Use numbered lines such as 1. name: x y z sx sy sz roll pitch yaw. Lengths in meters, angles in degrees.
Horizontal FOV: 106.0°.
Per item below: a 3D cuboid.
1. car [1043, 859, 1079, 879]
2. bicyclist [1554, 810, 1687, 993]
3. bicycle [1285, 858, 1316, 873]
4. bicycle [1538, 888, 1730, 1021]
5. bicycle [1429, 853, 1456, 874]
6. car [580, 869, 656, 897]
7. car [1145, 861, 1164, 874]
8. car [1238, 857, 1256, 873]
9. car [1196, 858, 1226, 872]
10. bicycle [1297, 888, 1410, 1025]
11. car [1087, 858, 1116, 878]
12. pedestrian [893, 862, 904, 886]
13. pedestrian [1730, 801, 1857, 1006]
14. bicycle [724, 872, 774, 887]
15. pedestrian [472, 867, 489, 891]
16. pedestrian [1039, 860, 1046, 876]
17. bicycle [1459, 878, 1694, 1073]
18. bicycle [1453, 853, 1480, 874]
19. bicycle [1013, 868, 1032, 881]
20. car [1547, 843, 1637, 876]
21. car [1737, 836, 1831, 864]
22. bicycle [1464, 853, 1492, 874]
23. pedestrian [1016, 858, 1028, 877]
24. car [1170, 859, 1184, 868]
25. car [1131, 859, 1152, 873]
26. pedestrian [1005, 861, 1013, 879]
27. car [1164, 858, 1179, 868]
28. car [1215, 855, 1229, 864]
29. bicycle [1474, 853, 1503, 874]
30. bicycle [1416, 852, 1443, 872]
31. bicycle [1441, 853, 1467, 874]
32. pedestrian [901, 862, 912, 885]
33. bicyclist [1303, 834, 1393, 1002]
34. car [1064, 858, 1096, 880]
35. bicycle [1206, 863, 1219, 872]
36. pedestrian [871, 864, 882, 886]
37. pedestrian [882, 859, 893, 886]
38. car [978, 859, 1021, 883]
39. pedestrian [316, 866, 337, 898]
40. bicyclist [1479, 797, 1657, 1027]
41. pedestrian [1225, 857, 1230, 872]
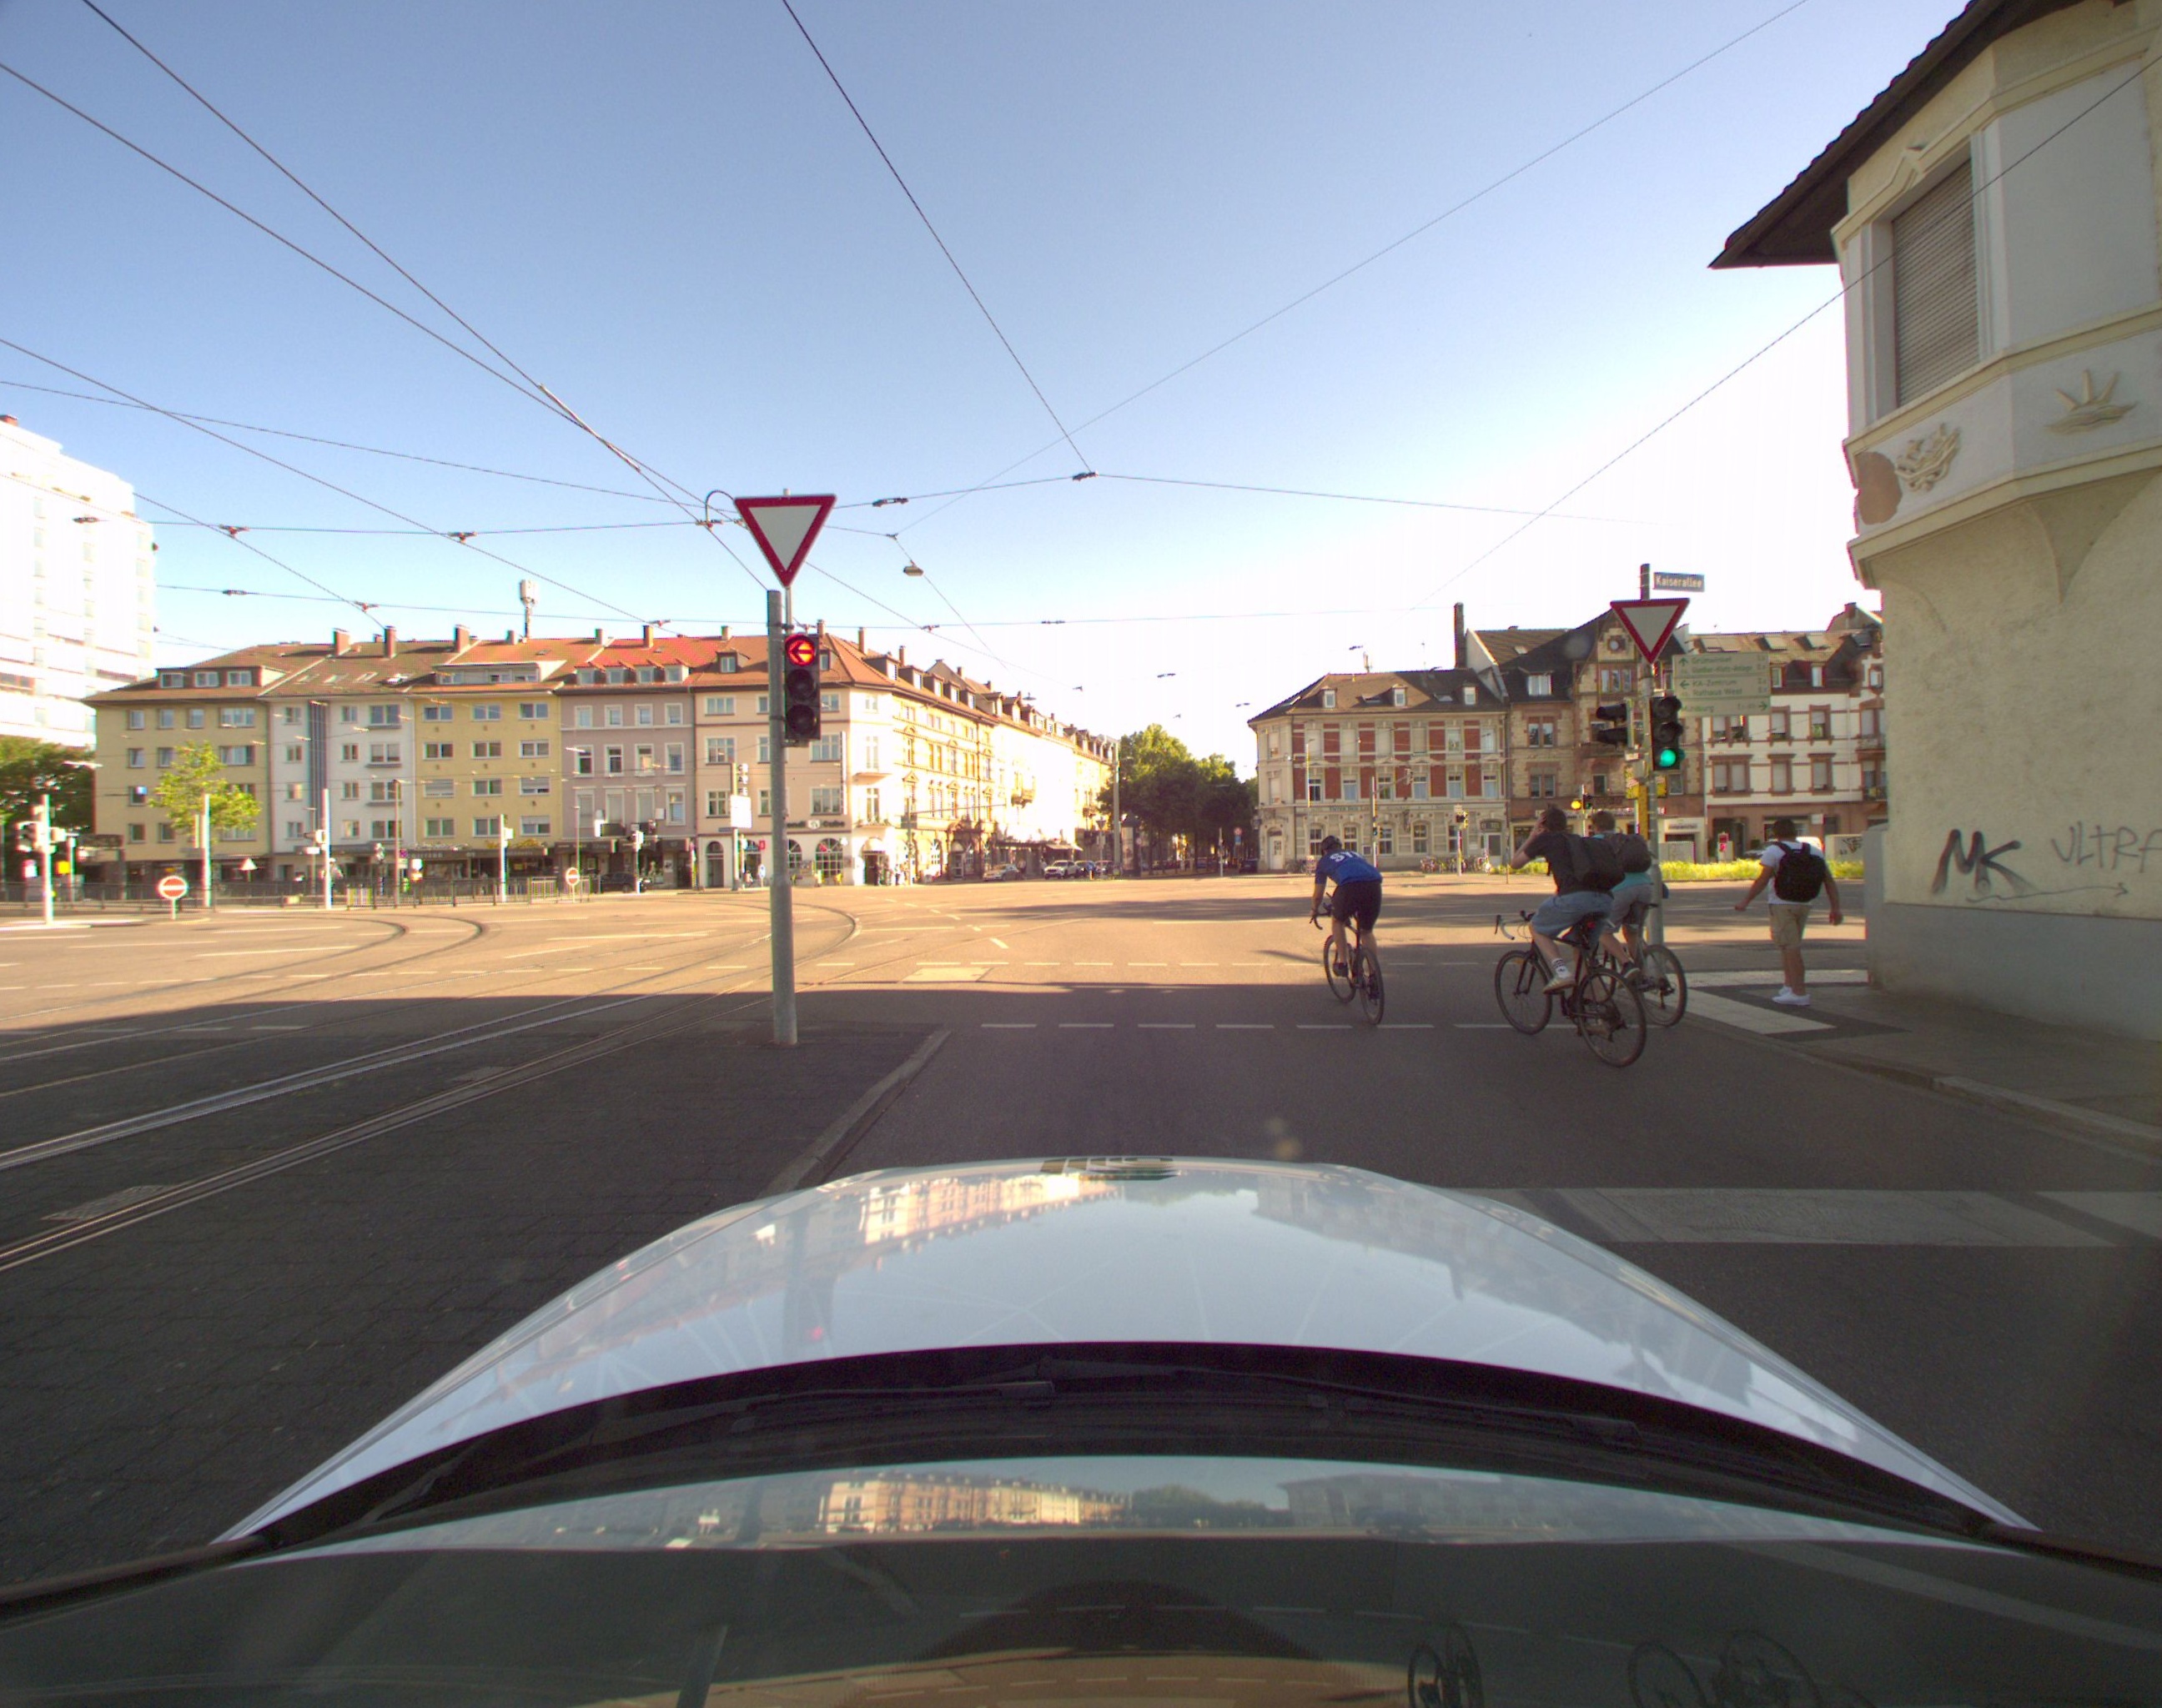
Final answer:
1. car: -1.620 1.195 67.548 1.979 1.618 4.015 -1 -1 14
2. bicyclist: 5.083 0.430 7.728 0.686 1.633 0.884 0 -1 4
3. bicycle: 15.324 0.812 56.880 2.040 0.998 0.631 -1 -1 4
4. bicycle: 5.055 0.865 7.597 0.647 1.031 1.772 0 -1 3
5. bicycle: 23.262 0.621 52.430 0.689 1.287 2.663 0 -1 3
6. car: -30.588 1.915 53.821 3.962 1.670 2.006 -2 0 10
7. car: 11.110 1.973 122.544 1.977 1.904 4.019 -1 -1 19
8. car: 16.817 1.115 82.370 1.680 1.565 3.855 -1 -1 14
9. car: 18.336 1.559 114.732 3.955 1.904 2.009 -1 -1 17
10. bicycle: 2.525 0.901 7.722 0.623 1.085 1.705 0 -1 5
11. car: 2.065 1.399 79.926 1.979 1.904 4.015 -1 -1 14
12. pedestrian: -12.636 1.352 56.371 0.631 1.634 0.700 0 -1 -2
13. pedestrian: 6.481 0.432 7.416 0.589 1.756 0.635 -5 -1 -37
14. bicycle: -23.424 1.786 57.470 3.118 0.980 1.002 0 -1 1
15. pedestrian: -42.274 1.762 57.332 0.631 1.634 0.700 0 -1 -2
16. pedestrian: -3.977 1.475 84.004 0.539 1.631 0.709 -1 -1 15
17. bicycle: 3.656 0.822 6.208 0.752 1.236 1.702 0 -1 0
18. bicycle: 24.775 0.601 52.395 0.626 1.287 2.663 0 -1 3
19. bicycle: -4.732 1.631 65.564 0.756 1.008 2.406 -1 -1 16
20. car: 28.279 0.323 45.146 3.769 1.778 2.000 0 -1 1
21. car: 45.312 -0.236 52.578 4.349 1.778 2.000 0 -1 1
22. bicycle: 25.503 0.609 52.391 0.626 1.287 2.663 0 -1 3
23. pedestrian: -4.760 1.101 65.495 0.814 1.512 0.601 -1 -1 16
24. car: 16.097 1.529 136.041 1.546 1.513 3.673 -1 -1 19
25. car: 8.395 1.617 112.700 1.977 1.904 4.019 -1 -1 19
26. pedestrian: -6.771 1.483 76.445 0.539 1.631 0.709 -1 -1 15
27. car: 14.657 1.428 131.788 1.546 1.513 3.673 -1 -1 19
28. car: 23.242 0.912 134.239 1.546 1.513 3.673 -1 -1 19
29. bicycle: 26.198 0.606 52.363 0.626 1.287 2.663 0 -1 3
30. bicycle: 22.396 0.519 52.425 0.689 1.287 2.663 0 -1 3
31. bicycle: 23.985 0.614 52.423 0.626 1.287 2.663 0 -1 3
32. pedestrian: -12.363 1.384 57.632 0.631 1.634 0.700 0 -1 -2
33. bicyclist: 2.503 0.561 7.717 0.635 1.494 0.885 0 1 6
34. car: -0.042 1.366 73.852 1.979 1.904 4.015 -1 -1 14
35. bicycle: 15.993 1.645 98.871 0.630 1.085 1.687 0 -1 -28
36. pedestrian: -14.228 1.454 56.668 0.631 1.477 0.465 0 -1 -2
37. pedestrian: -13.653 1.284 57.500 0.631 1.881 0.465 0 -1 -2
38. car: -6.724 1.364 67.465 1.977 1.904 4.019 -1 -1 19
39. pedestrian: -38.752 1.426 41.817 0.523 1.628 0.577 0 -1 0
40. bicyclist: 3.625 0.406 6.143 0.803 1.606 0.883 0 -1 0
41. pedestrian: 18.066 1.262 100.354 0.635 1.796 0.492 -1 -1 14
